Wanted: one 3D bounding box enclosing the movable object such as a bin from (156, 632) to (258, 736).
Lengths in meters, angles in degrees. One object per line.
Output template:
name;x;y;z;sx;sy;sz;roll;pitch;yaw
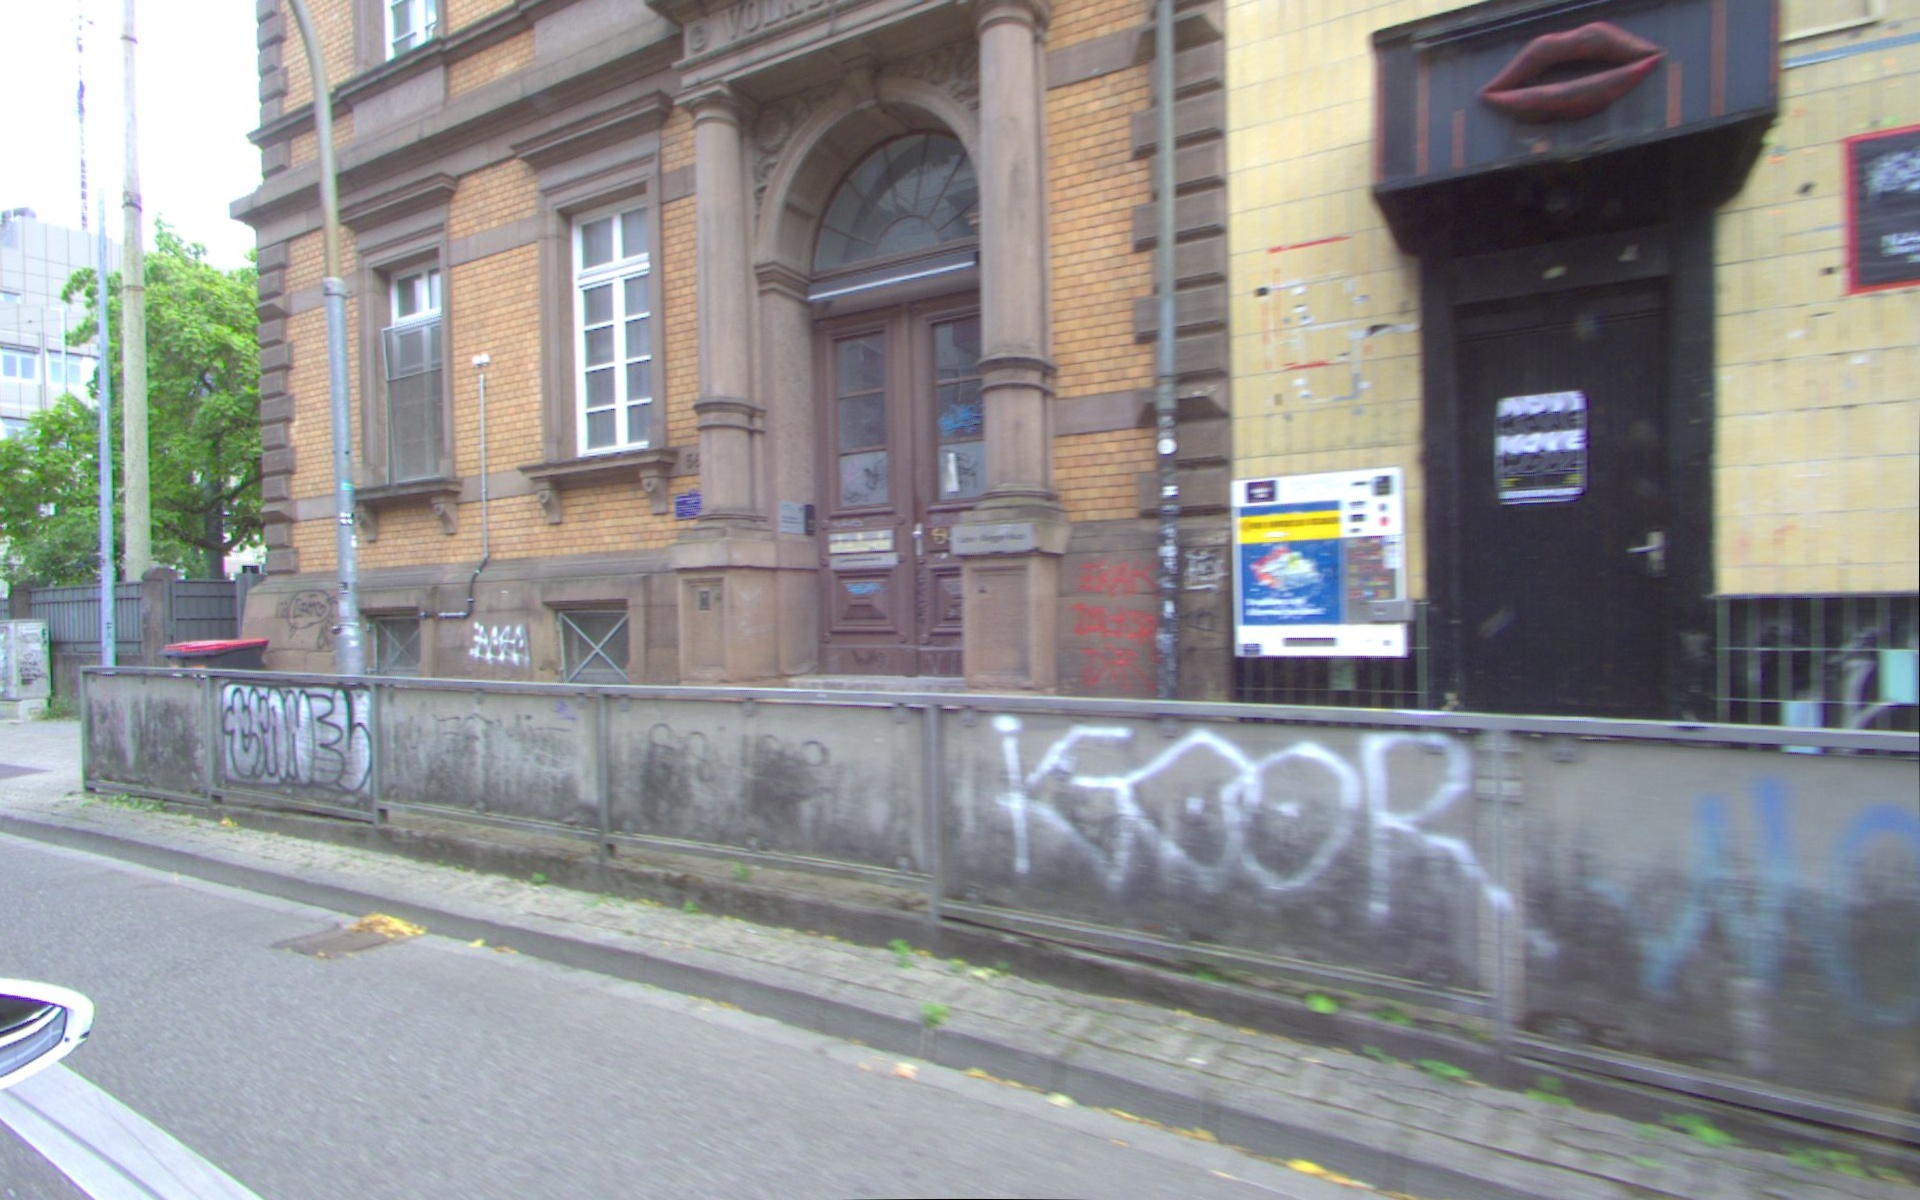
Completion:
movable object such as a bin;-8.628;0.948;11.485;0.667;1.097;0.650;-1;3;27

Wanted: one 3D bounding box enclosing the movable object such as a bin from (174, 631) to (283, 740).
movable object such as a bin;-8.064;0.926;11.055;0.690;1.097;0.662;-1;3;27
